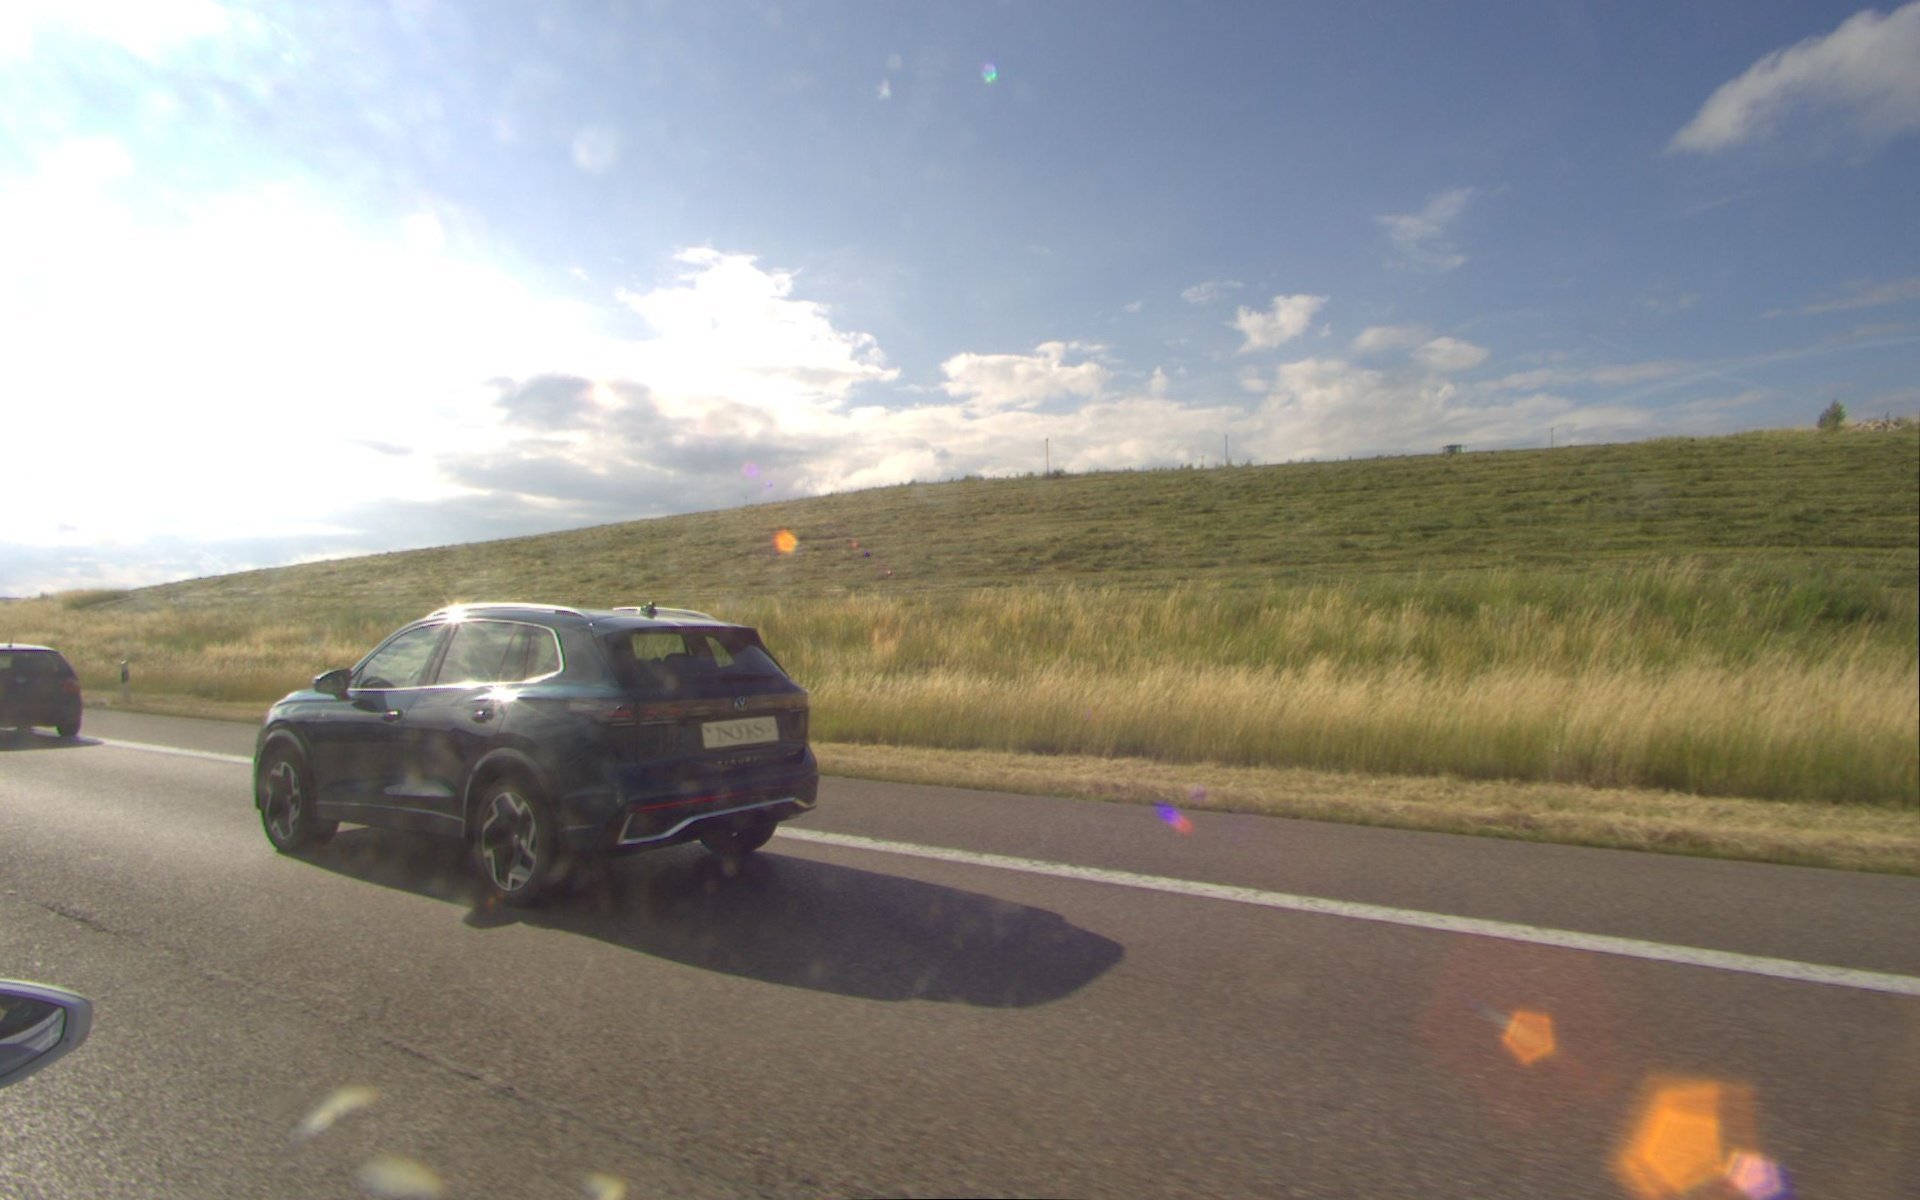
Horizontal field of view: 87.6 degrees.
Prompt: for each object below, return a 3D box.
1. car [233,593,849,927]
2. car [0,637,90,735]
[{"bbox_3d":[-2.951,0.883,6.801,4.176,1.621,1.818,-2,-4,33],"label":"car"},{"bbox_3d":[-15.460,1.321,15.958,3.624,1.438,1.601,-2,-2,35],"label":"car"}]
